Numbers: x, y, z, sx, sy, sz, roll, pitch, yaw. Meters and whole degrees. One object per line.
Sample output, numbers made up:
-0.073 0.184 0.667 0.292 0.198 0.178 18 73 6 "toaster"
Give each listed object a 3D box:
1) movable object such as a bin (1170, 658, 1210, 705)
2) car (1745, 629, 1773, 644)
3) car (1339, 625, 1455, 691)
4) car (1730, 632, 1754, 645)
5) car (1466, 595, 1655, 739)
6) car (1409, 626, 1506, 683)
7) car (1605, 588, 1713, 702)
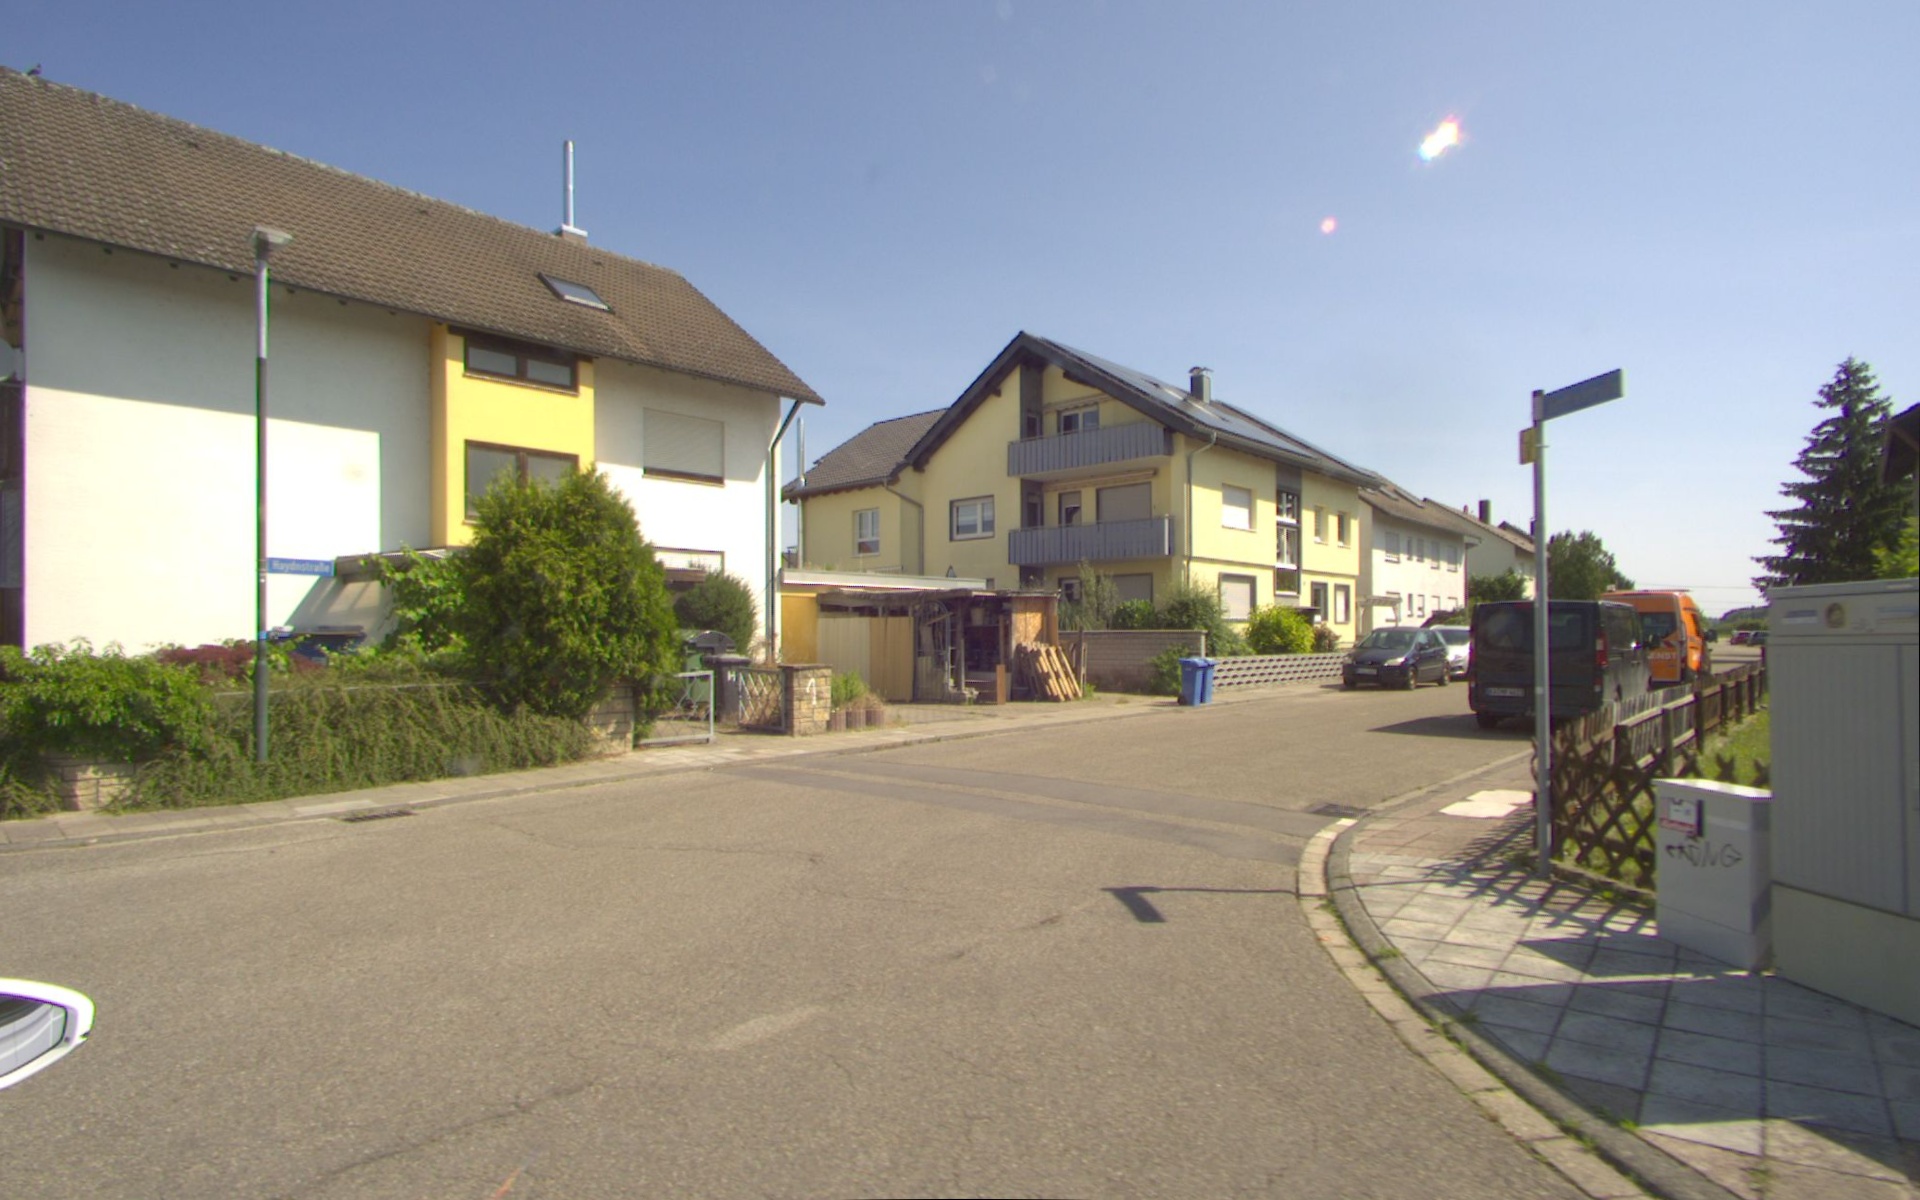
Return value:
4.725 1.665 20.577 0.578 0.928 0.593 -2 -2 41 "movable object such as a bin"
75.314 3.470 94.381 1.687 1.357 3.980 -2 -4 34 "car"
11.787 1.512 26.884 1.616 1.646 3.966 -2 -3 43 "car"
82.067 4.058 105.152 1.687 1.357 3.980 -2 -4 34 "car"
9.597 0.980 15.859 1.850 1.963 4.171 -2 -2 41 "car"
15.457 1.649 31.034 1.616 1.646 3.966 -2 -3 43 "car"
15.872 0.991 22.657 1.539 2.353 4.171 -2 -2 41 "car"
